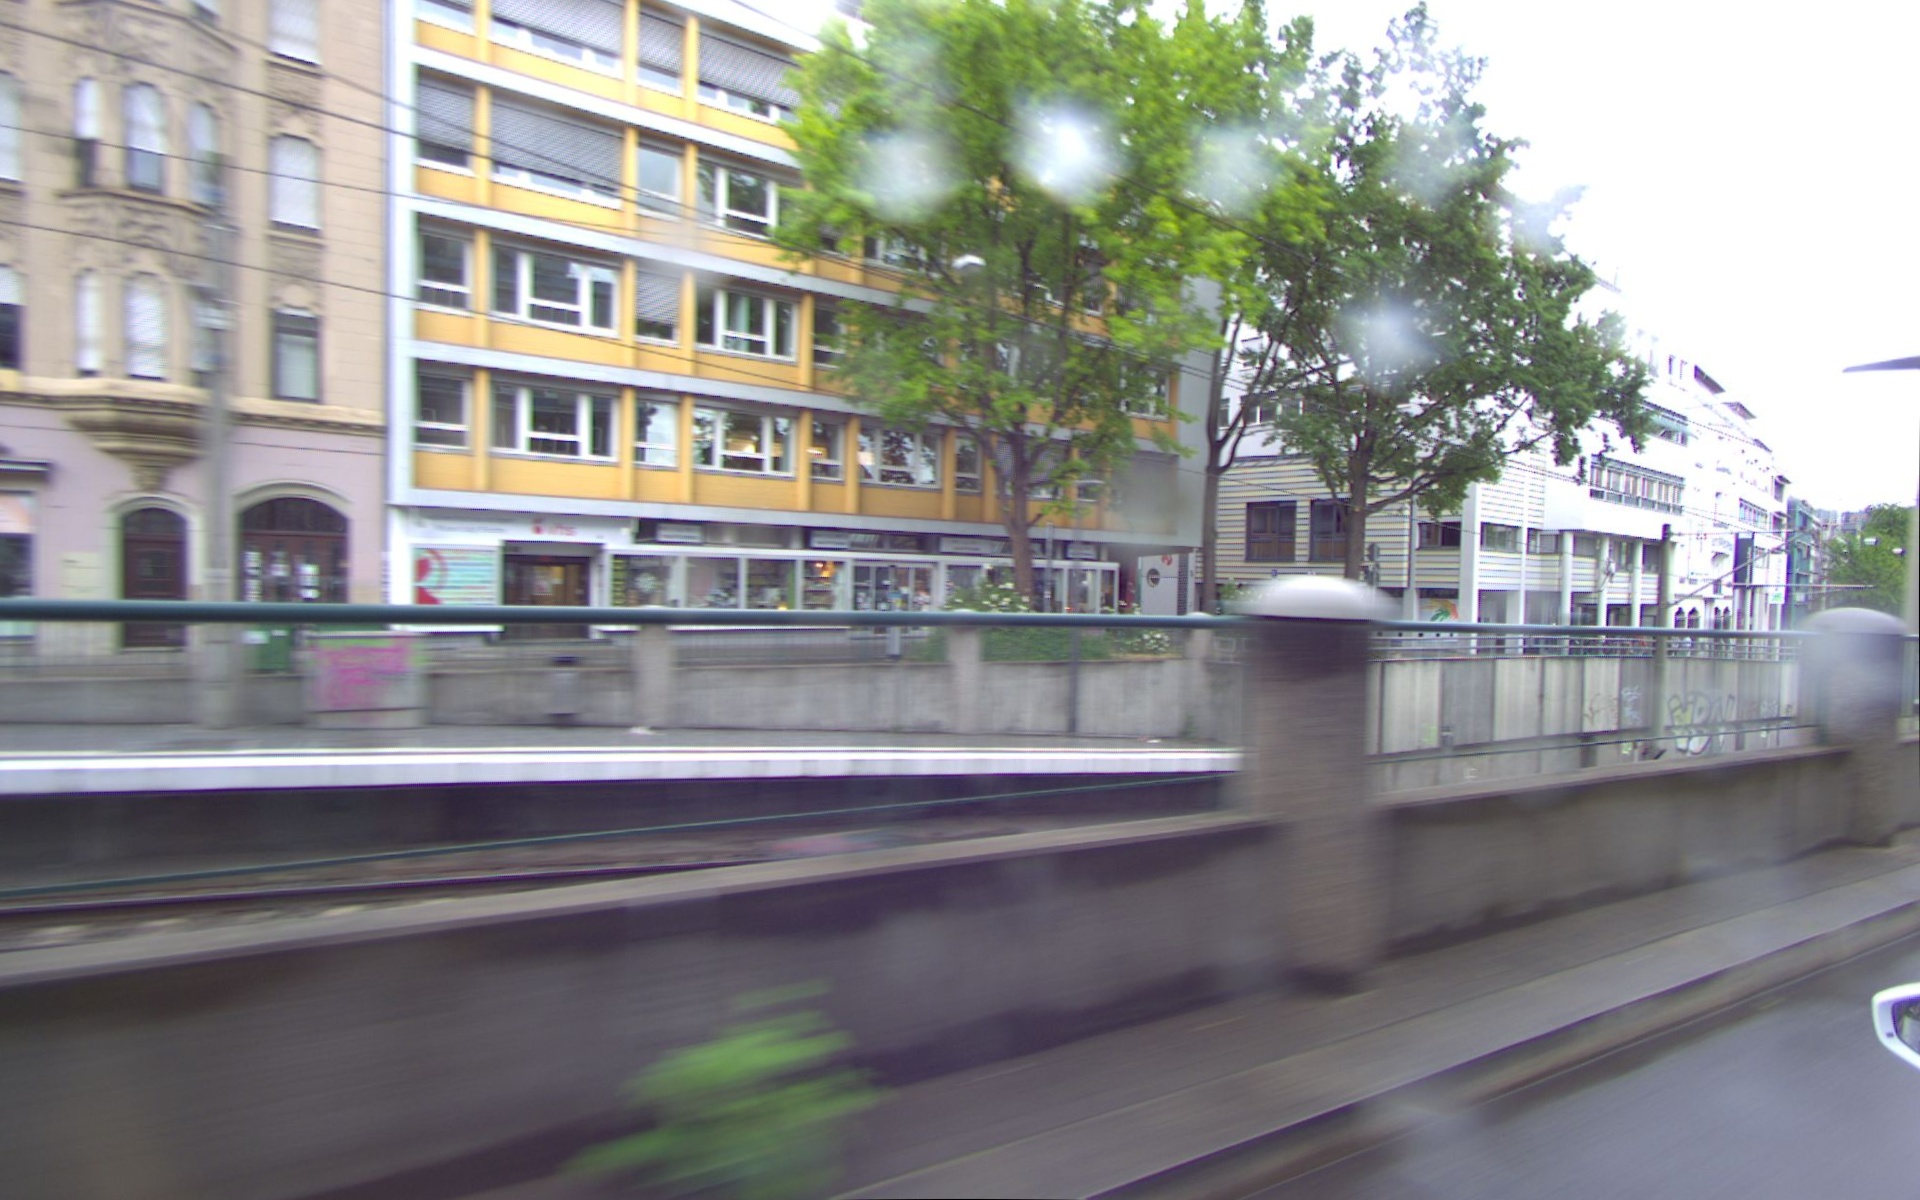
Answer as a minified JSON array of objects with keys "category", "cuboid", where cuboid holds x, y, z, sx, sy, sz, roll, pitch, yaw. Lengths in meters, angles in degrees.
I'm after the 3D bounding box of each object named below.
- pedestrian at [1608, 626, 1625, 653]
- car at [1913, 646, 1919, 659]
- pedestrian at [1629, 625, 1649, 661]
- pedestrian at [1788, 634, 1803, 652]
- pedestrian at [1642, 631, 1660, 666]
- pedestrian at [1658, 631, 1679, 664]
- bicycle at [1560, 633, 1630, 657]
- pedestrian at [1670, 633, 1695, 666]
[{"category":"pedestrian","cuboid":[36.242,2.201,55.443,0.668,1.438,0.602,2,0,-39]},{"category":"car","cuboid":[137.941,7.570,143.979,3.868,1.576,1.762,0,2,-45]},{"category":"pedestrian","cuboid":[32.165,2.037,47.611,0.662,1.637,0.940,3,0,31]},{"category":"pedestrian","cuboid":[91.198,4.718,109.642,0.947,1.893,0.861,3,0,-25]},{"category":"pedestrian","cuboid":[36.317,2.546,52.771,0.662,1.809,0.940,3,0,31]},{"category":"pedestrian","cuboid":[37.828,2.528,53.622,0.660,1.745,0.609,2,0,6]},{"category":"bicycle","cuboid":[32.153,2.269,50.799,4.485,1.057,1.678,2,1,-40]},{"category":"pedestrian","cuboid":[37.805,2.571,52.543,0.660,1.664,0.795,2,0,2]}]
